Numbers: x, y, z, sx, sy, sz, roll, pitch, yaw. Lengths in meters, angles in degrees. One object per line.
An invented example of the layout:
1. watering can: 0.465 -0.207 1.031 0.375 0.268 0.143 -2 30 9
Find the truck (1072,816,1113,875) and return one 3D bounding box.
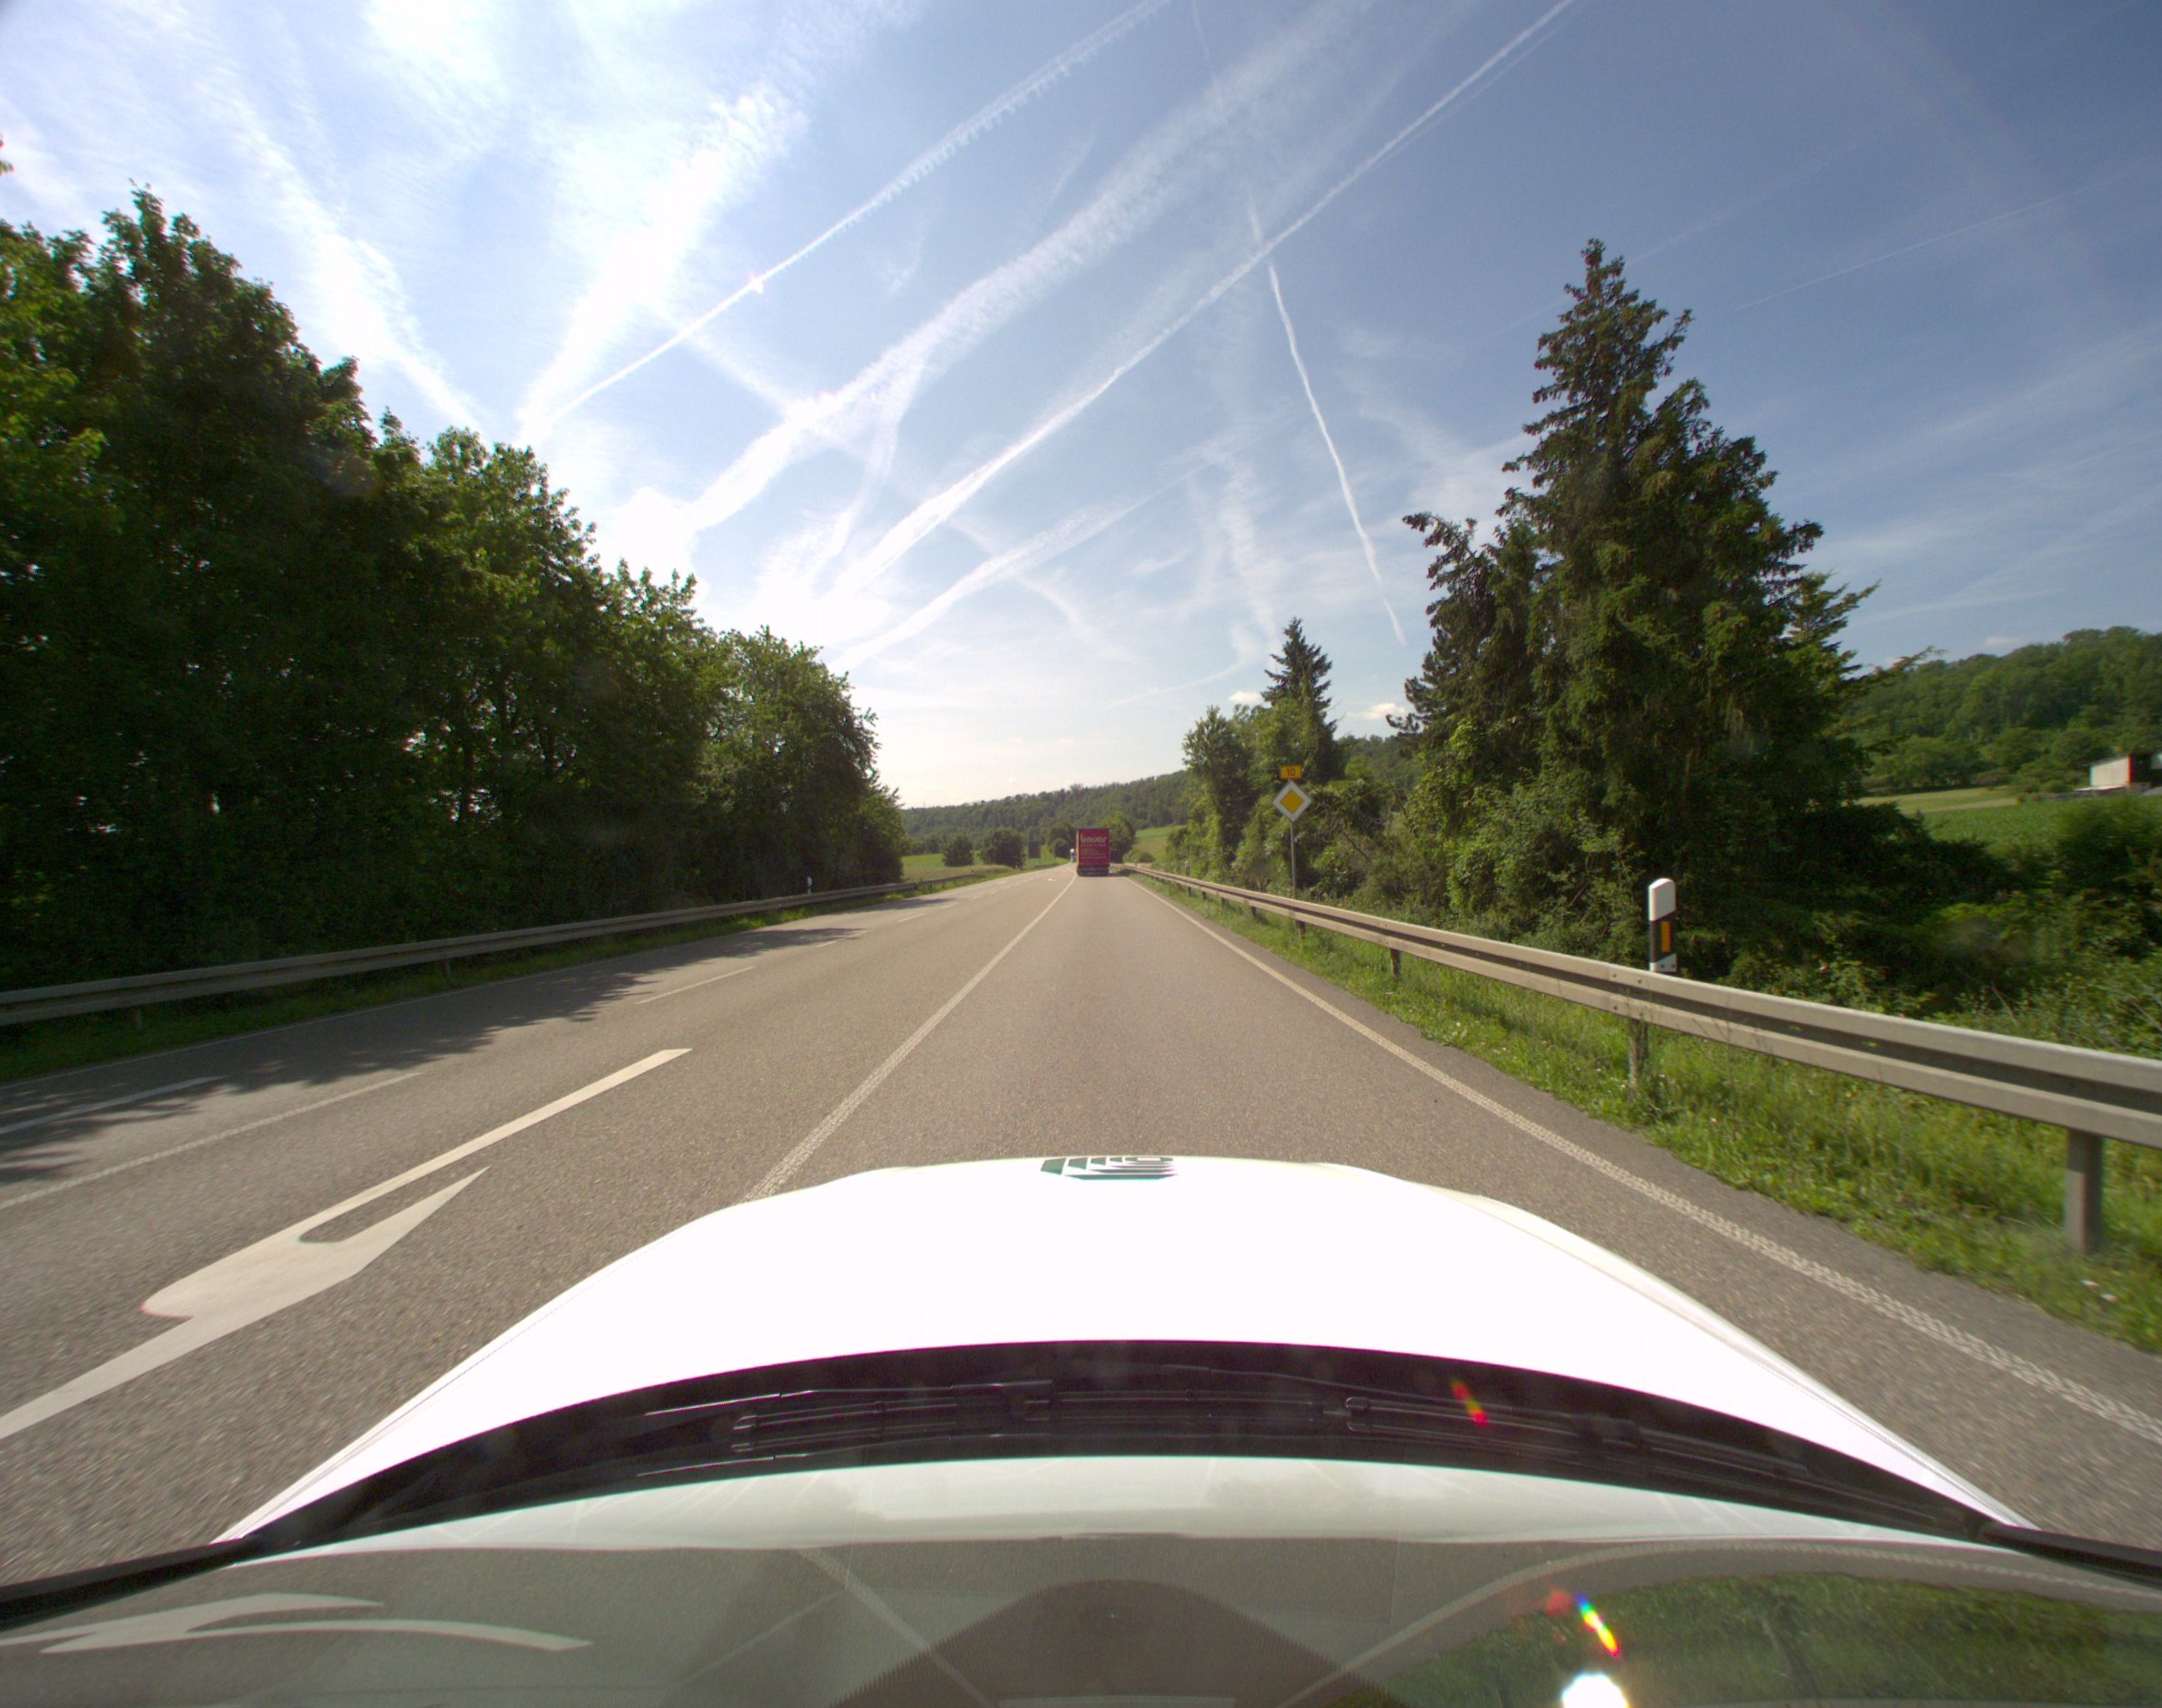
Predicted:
1. truck: 0.926 -0.688 71.949 3.162 4.625 13.542 -2 0 0

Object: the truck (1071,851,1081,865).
1. truck: -1.524 1.121 248.695 2.521 4.120 6.022 -3 -1 1
